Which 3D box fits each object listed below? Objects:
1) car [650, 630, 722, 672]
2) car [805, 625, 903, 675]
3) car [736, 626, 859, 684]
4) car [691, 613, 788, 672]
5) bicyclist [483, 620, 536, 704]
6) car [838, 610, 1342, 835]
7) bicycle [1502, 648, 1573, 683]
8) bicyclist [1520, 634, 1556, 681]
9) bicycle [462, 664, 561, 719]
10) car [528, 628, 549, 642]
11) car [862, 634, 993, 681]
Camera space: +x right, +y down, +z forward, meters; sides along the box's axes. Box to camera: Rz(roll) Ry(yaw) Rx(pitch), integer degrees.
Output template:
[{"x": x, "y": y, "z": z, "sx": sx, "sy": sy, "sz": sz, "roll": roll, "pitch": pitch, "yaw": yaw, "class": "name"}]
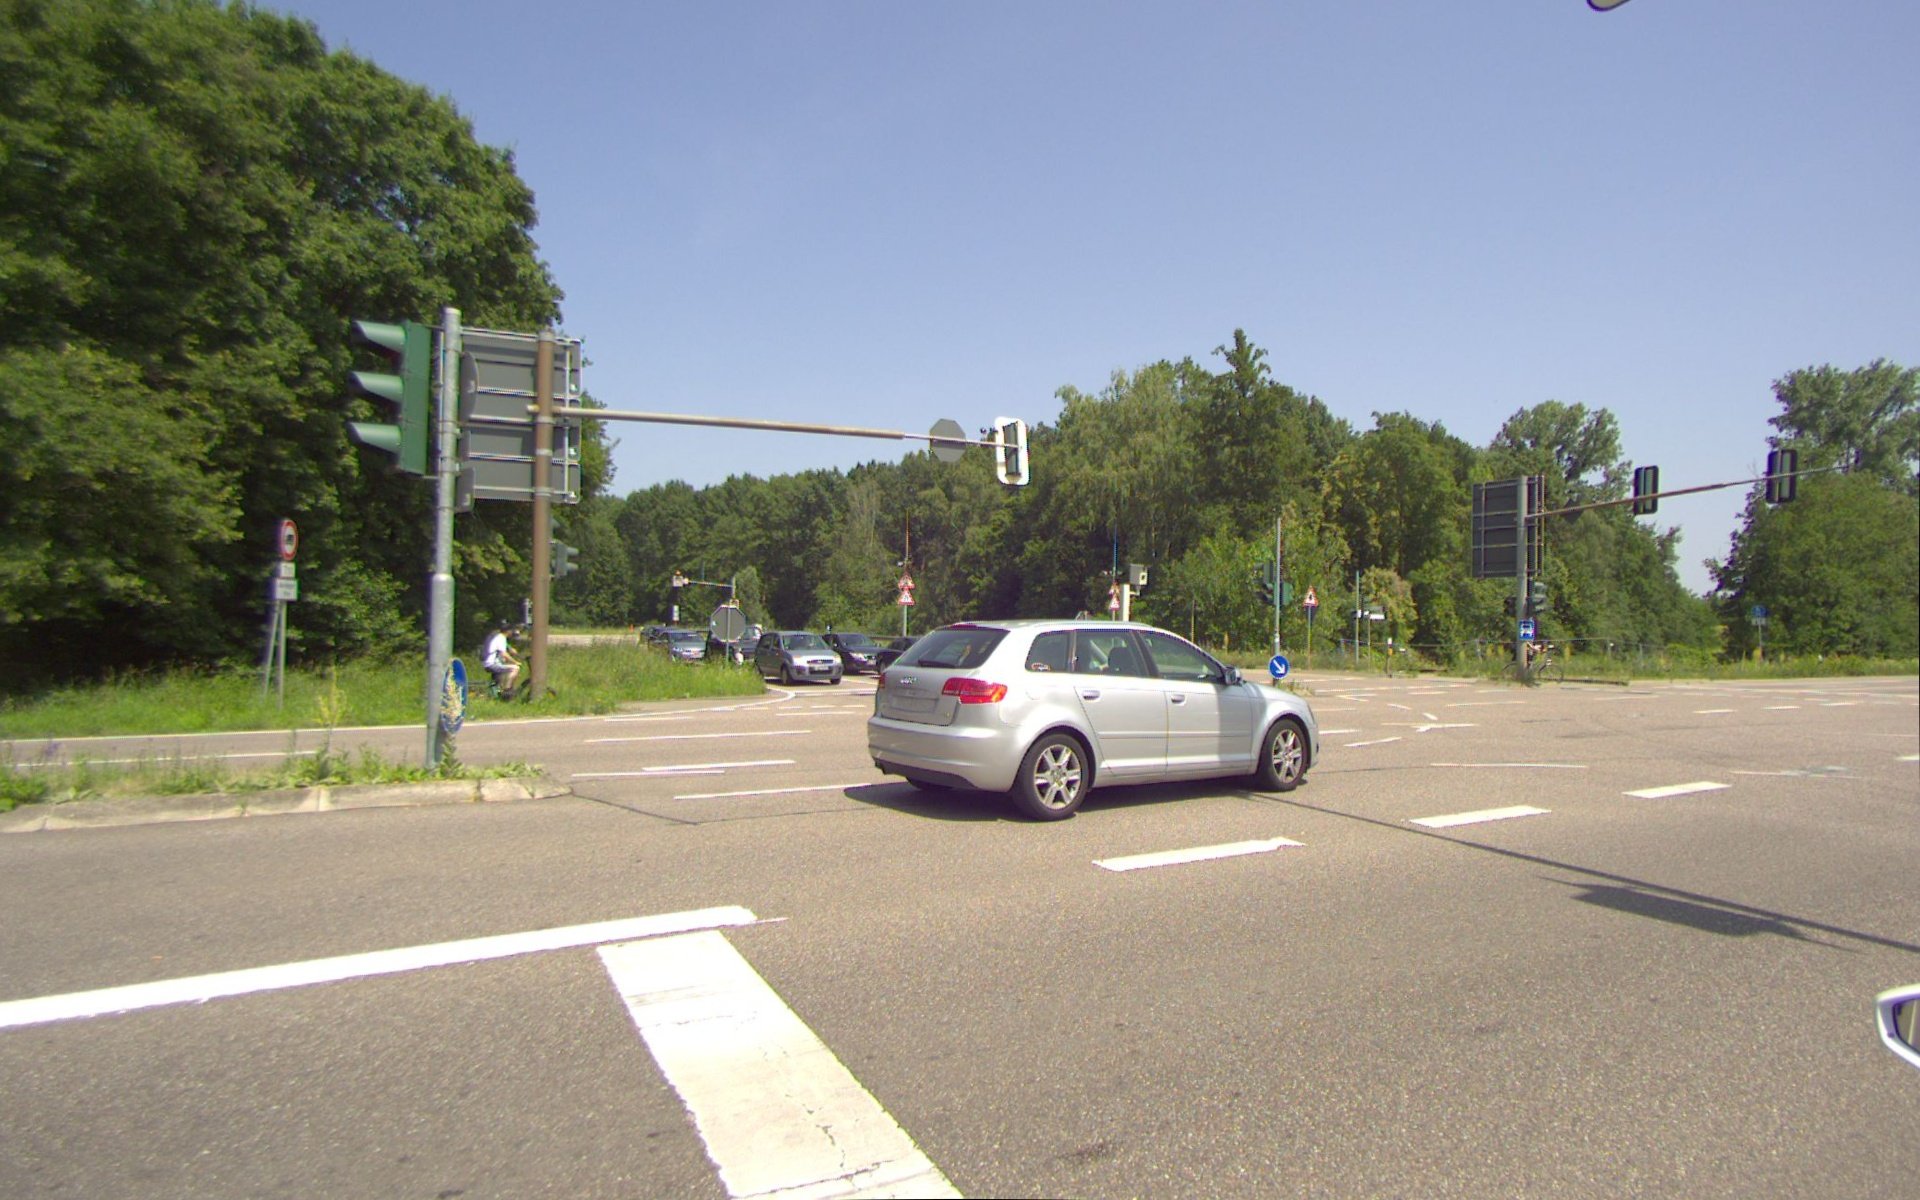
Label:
[{"x": -11.620, "y": 2.120, "z": 42.388, "sx": 1.851, "sy": 1.657, "sz": 4.377, "roll": 2, "pitch": -2, "yaw": -30, "class": "car"}, {"x": -3.847, "y": 1.734, "z": 35.765, "sx": 1.974, "sy": 1.657, "sz": 4.790, "roll": 1, "pitch": -2, "yaw": -26, "class": "car"}, {"x": -4.948, "y": 1.575, "z": 29.992, "sx": 2.104, "sy": 1.588, "sz": 4.784, "roll": 2, "pitch": -2, "yaw": -29, "class": "car"}, {"x": -7.786, "y": 1.461, "z": 35.065, "sx": 1.976, "sy": 1.923, "sz": 4.783, "roll": 2, "pitch": -2, "yaw": -30, "class": "car"}, {"x": -8.176, "y": 1.117, "z": 18.259, "sx": 0.798, "sy": 1.484, "sz": 0.658, "roll": 1, "pitch": -2, "yaw": -20, "class": "bicyclist"}, {"x": 1.171, "y": 0.835, "z": 8.312, "sx": 3.973, "sy": 1.410, "sz": 1.754, "roll": 1, "pitch": 0, "yaw": -34, "class": "car"}, {"x": 18.547, "y": 2.112, "z": 32.307, "sx": 1.831, "sy": 1.077, "sz": 0.725, "roll": 0, "pitch": -1, "yaw": 8, "class": "bicycle"}, {"x": 18.560, "y": 1.827, "z": 32.286, "sx": 0.701, "sy": 1.479, "sz": 0.927, "roll": 0, "pitch": -1, "yaw": 8, "class": "bicyclist"}, {"x": -8.132, "y": 1.648, "z": 18.266, "sx": 1.581, "sy": 0.935, "sz": 0.564, "roll": 1, "pitch": -1, "yaw": -21, "class": "bicycle"}, {"x": -49.842, "y": 4.141, "z": 118.776, "sx": 1.974, "sy": 1.657, "sz": 4.790, "roll": 1, "pitch": -2, "yaw": -26, "class": "car"}, {"x": -1.102, "y": 1.709, "z": 30.900, "sx": 2.080, "sy": 1.307, "sz": 4.785, "roll": 2, "pitch": -2, "yaw": -29, "class": "car"}]
